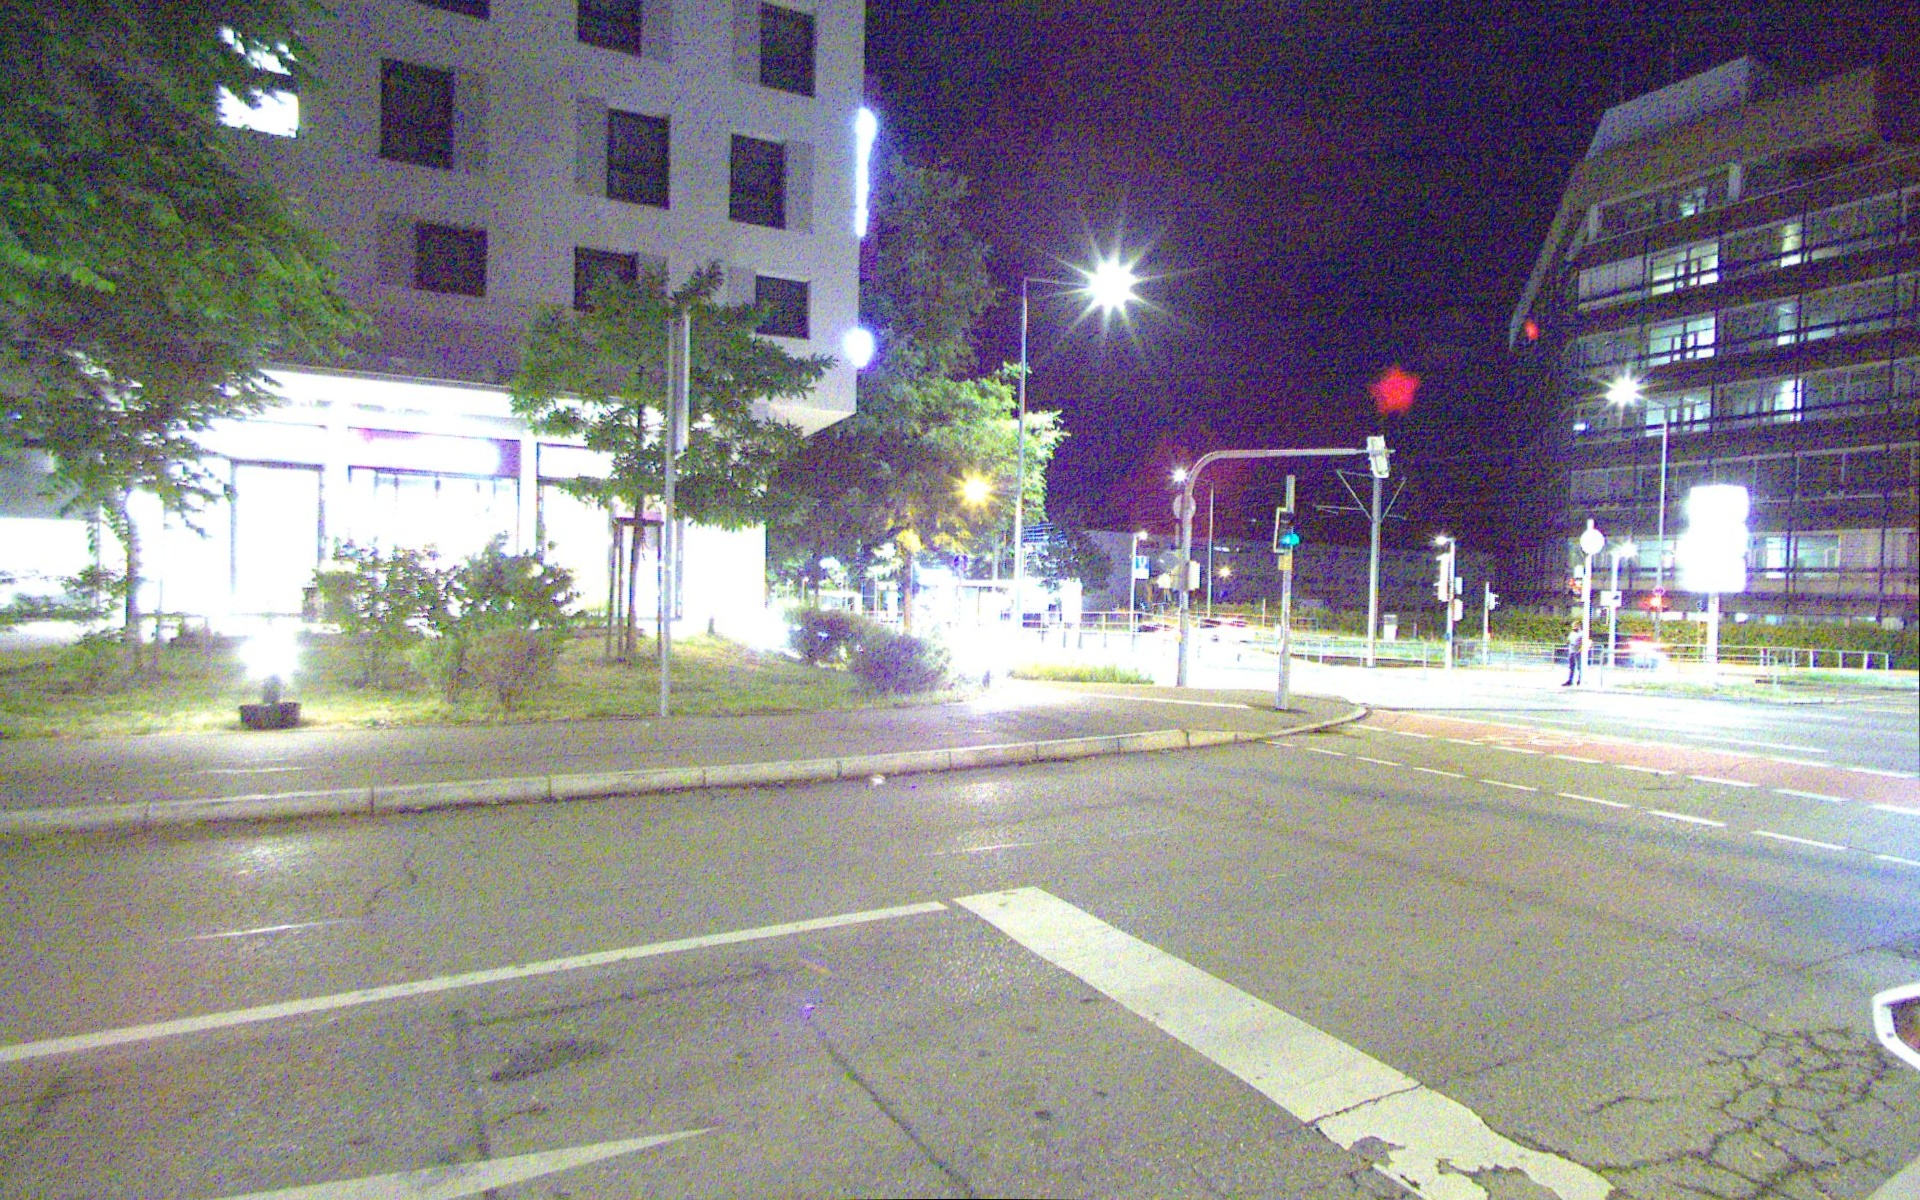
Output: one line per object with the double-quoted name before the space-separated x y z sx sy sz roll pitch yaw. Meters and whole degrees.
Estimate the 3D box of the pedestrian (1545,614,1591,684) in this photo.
"pedestrian" 15.631 1.248 25.833 0.693 1.745 0.679 2 0 -3

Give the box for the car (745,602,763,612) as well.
"car" -33.458 1.152 162.935 1.845 1.506 3.822 3 0 -26

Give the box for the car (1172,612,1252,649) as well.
"car" 14.534 1.723 58.229 1.819 1.869 4.763 3 0 -26

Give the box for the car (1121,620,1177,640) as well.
"car" 13.951 2.208 74.377 1.819 1.406 4.313 3 -2 -26

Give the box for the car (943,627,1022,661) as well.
"car" 0.956 2.004 46.336 1.722 1.439 4.557 -2 -1 -26

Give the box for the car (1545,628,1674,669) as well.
"car" 26.368 1.928 40.914 1.818 1.443 4.047 -1 0 -26
